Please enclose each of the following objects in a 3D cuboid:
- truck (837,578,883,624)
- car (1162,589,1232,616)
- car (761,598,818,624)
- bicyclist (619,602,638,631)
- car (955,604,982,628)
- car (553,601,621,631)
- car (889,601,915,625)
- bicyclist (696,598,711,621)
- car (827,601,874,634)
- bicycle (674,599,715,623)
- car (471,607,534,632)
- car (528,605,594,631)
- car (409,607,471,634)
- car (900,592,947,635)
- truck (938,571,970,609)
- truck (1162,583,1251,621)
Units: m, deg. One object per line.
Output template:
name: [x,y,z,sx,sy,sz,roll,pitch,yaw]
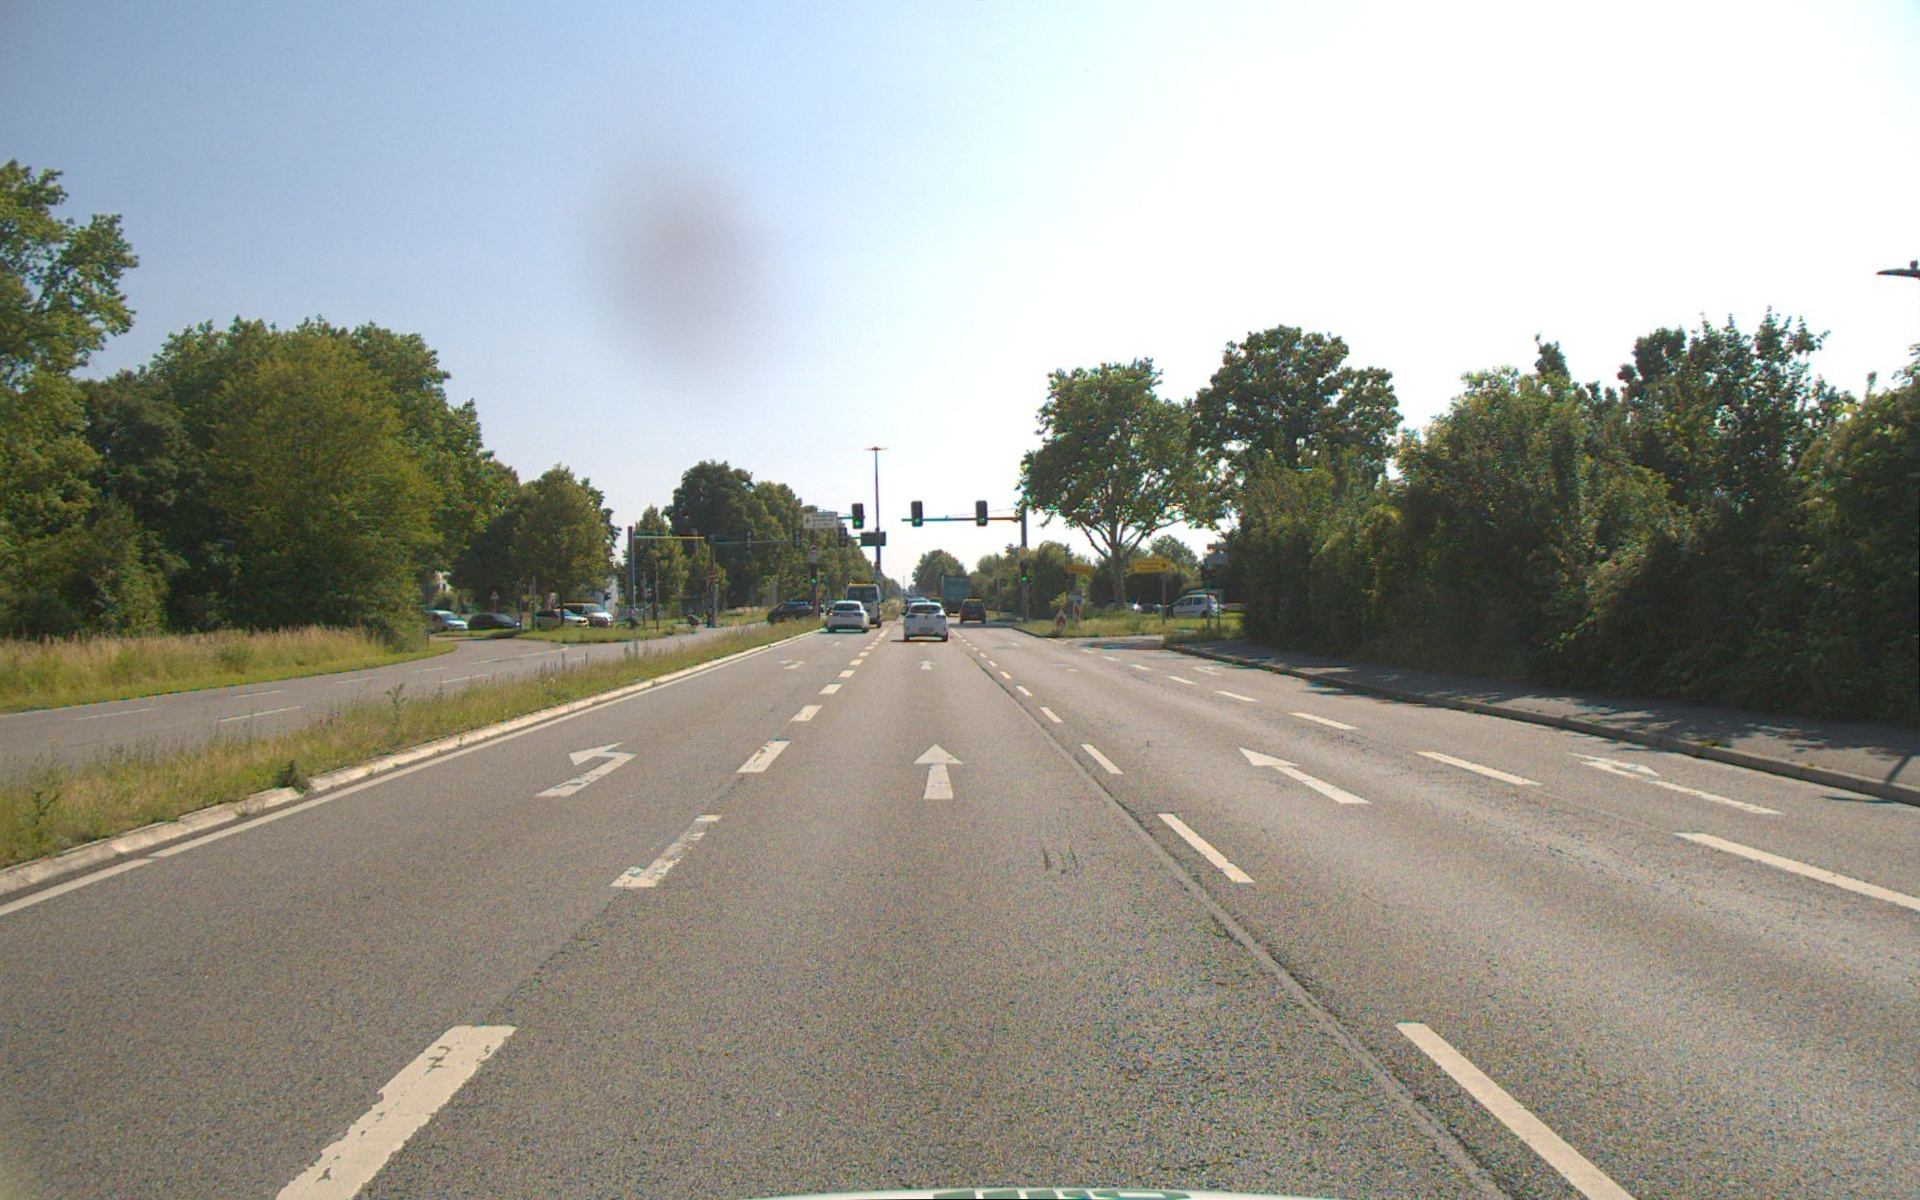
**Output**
truck: [-5.447,0.031,90.661,2.326,2.430,6.038,-1,0,-2]
car: [13.699,0.160,95.710,3.667,1.495,1.785,-1,0,23]
car: [-11.161,0.709,107.997,1.896,1.678,3.943,0,-1,-40]
bicyclist: [-17.962,0.891,89.663,0.829,1.544,0.747,0,0,4]
car: [0.501,0.988,101.257,1.540,1.439,3.276,0,-1,-1]
car: [-26.199,1.133,116.118,4.558,1.984,1.994,-2,0,34]
car: [-3.520,0.779,100.701,1.540,1.439,3.276,-1,0,-1]
bicyclist: [-18.580,0.688,119.821,0.845,1.647,0.757,0,-1,26]
car: [-5.108,0.793,77.793,1.775,1.490,4.971,-1,0,1]
bicycle: [-19.253,0.806,120.047,2.737,1.699,1.135,-1,0,26]
car: [-32.095,1.366,116.007,4.179,1.634,1.999,-2,0,34]
car: [-27.188,1.254,112.670,4.179,1.634,1.999,-2,0,34]
car: [-37.673,1.462,119.833,4.414,1.832,1.999,-2,0,34]
car: [-1.377,0.485,63.196,1.762,1.580,3.999,0,0,-1]
truck: [-0.610,-0.946,158.363,2.833,3.488,9.166,-1,0,-1]
truck: [16.678,0.151,112.244,2.317,2.428,6.397,2,-2,-34]
